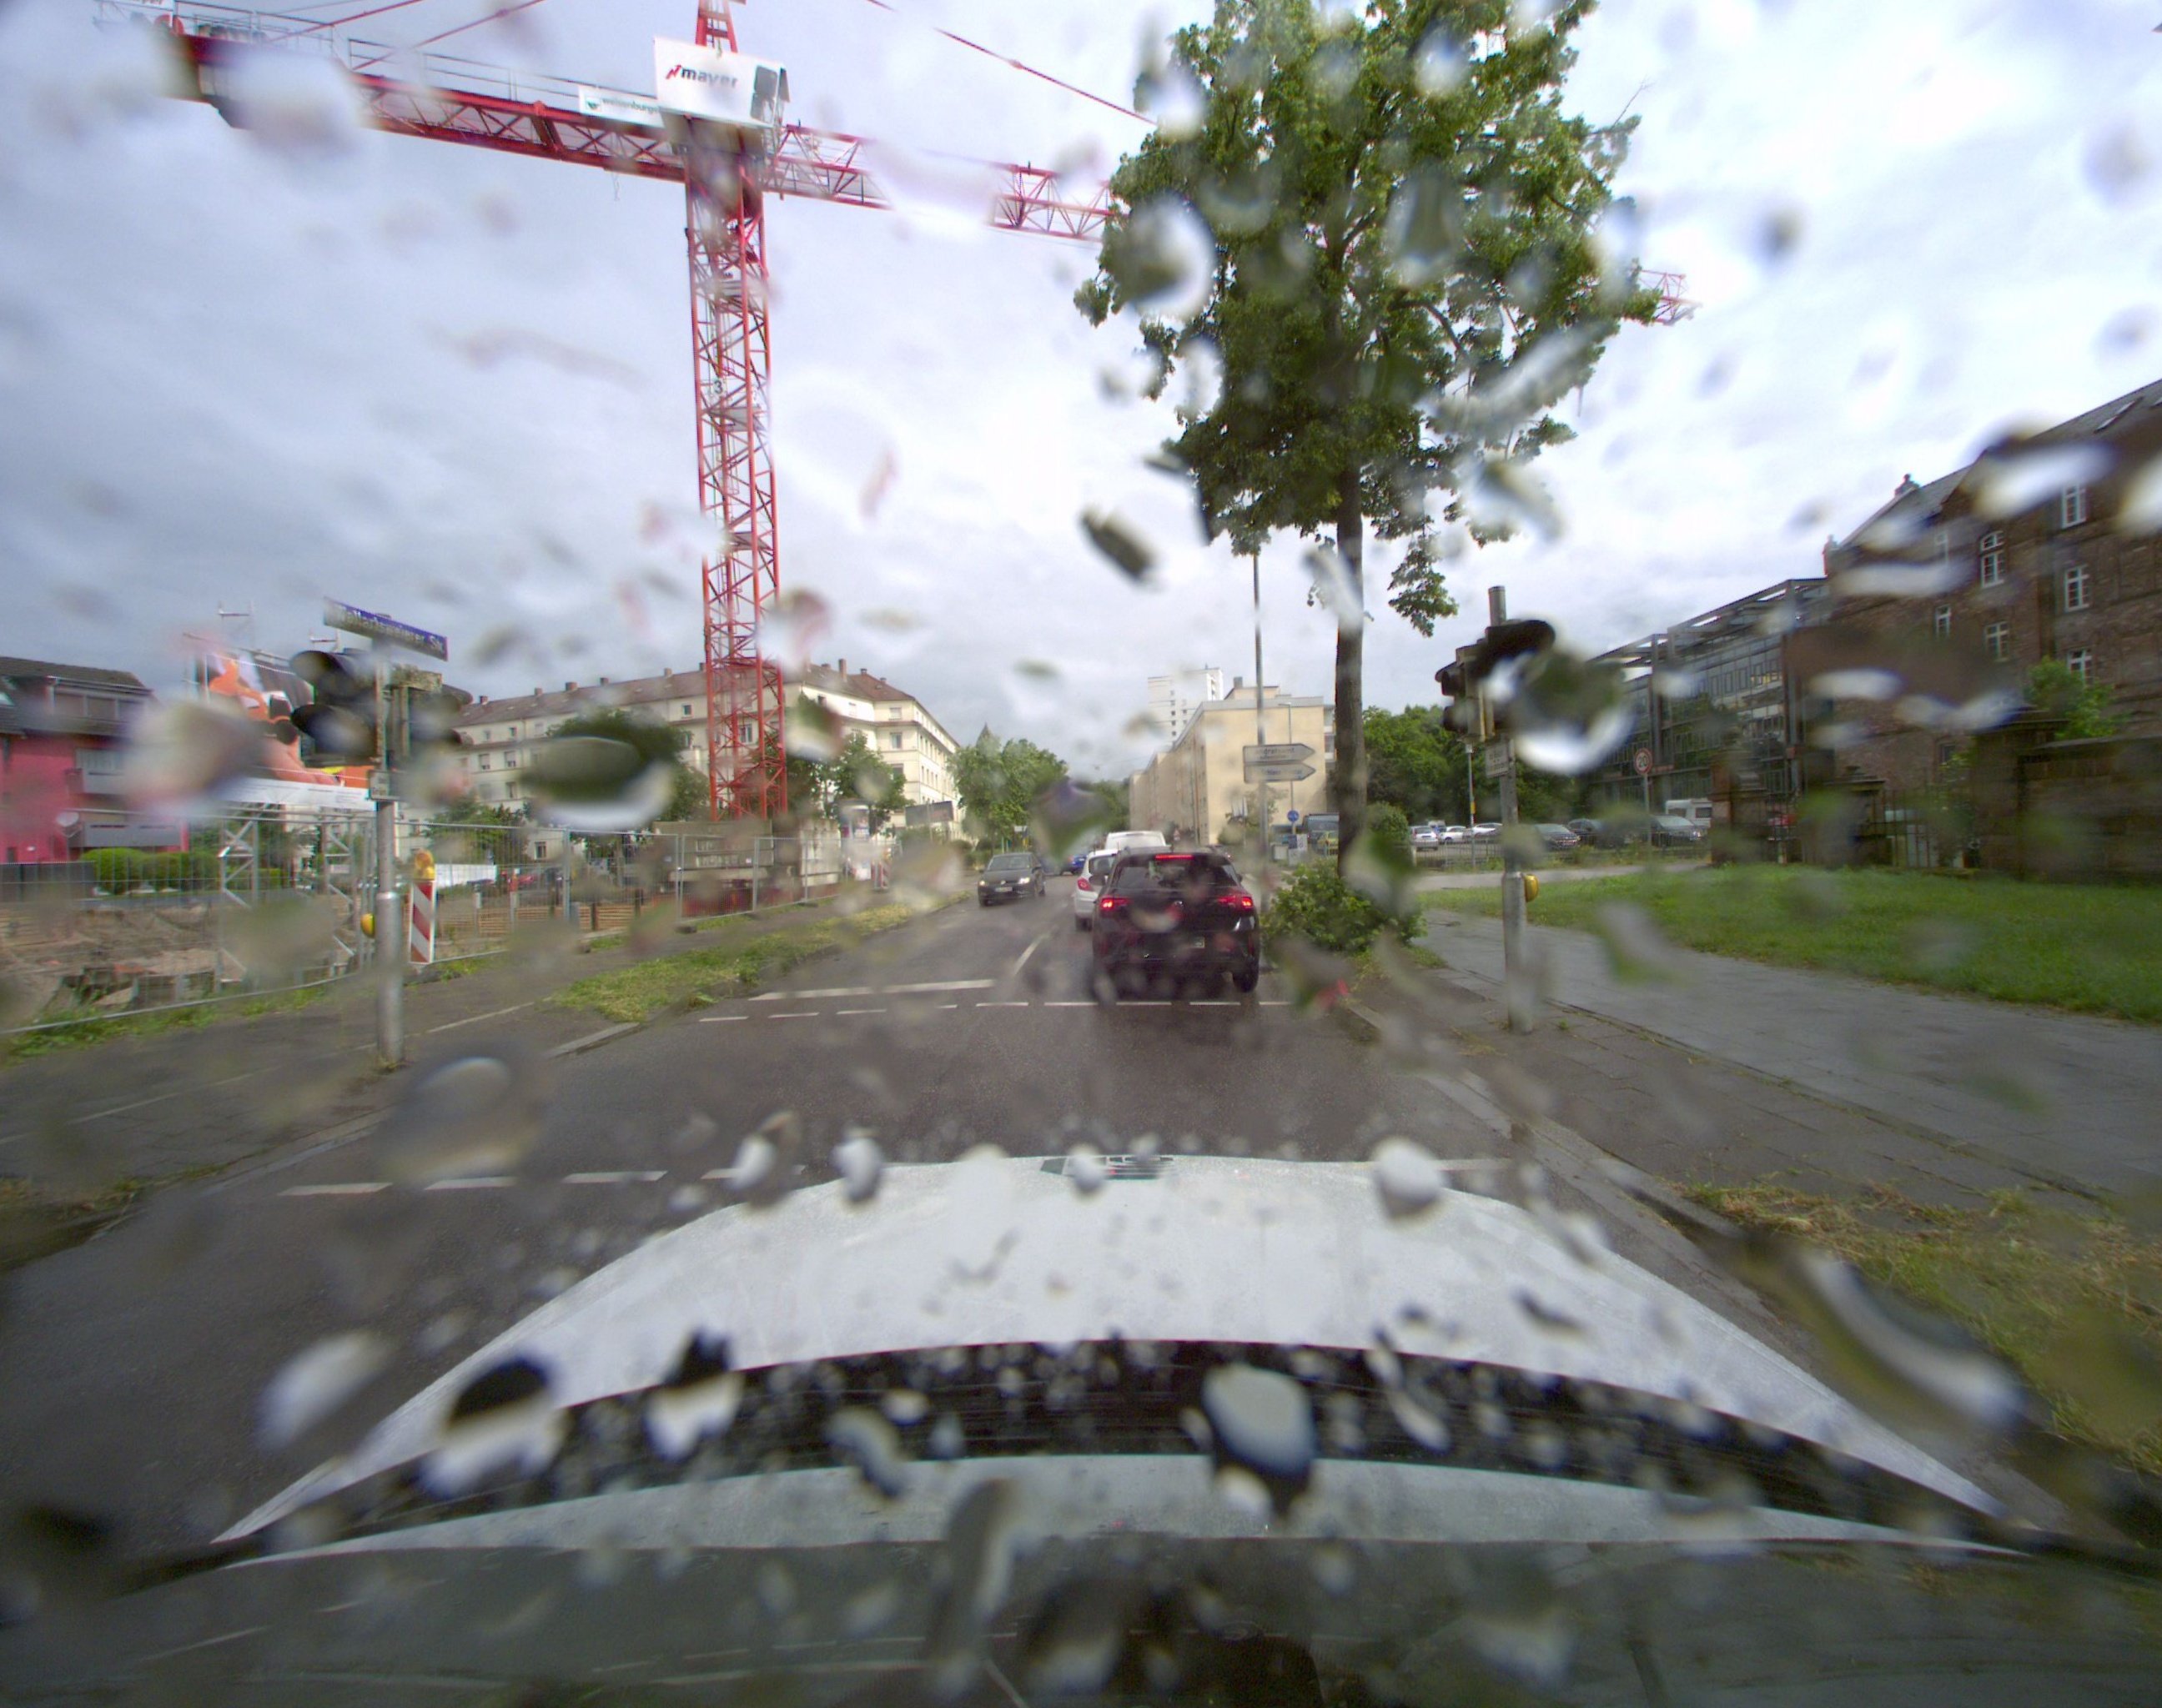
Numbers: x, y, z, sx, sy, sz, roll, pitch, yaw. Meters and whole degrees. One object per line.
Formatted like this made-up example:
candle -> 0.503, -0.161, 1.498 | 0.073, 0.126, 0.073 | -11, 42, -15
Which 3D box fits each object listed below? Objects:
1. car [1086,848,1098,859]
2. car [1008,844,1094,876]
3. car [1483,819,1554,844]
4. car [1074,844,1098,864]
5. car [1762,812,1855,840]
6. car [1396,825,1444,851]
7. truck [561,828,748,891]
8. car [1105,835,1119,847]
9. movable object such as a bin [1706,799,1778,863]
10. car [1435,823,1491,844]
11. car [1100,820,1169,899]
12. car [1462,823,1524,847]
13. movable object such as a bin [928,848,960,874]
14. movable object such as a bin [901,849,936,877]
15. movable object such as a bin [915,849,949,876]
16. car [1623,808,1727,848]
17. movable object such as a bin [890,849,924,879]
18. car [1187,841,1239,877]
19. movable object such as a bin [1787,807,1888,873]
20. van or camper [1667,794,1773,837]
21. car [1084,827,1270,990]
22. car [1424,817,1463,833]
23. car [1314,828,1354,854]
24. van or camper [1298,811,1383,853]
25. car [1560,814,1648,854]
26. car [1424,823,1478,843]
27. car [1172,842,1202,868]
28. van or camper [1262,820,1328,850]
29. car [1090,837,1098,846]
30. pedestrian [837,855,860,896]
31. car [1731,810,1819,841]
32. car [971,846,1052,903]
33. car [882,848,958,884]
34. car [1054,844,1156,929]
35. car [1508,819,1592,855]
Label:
car -> 1.893, -0.118, 136.685 | 1.733, 1.607, 3.679 | -4, 0, 3
car -> -1.642, 0.353, 44.257 | 4.389, 1.585, 1.833 | -2, -1, 35
car -> 30.315, -1.538, 56.499 | 3.957, 1.465, 1.674 | -3, 0, 3
car -> 0.444, -0.028, 73.007 | 1.833, 1.607, 4.004 | -4, 0, 3
car -> 40.503, -1.538, 45.391 | 3.650, 1.486, 1.674 | -1, 1, 3
car -> 20.836, -0.972, 50.225 | 1.641, 1.486, 3.724 | -3, 0, 5
truck -> -25.682, 0.336, 49.146 | 9.741, 3.184, 3.807 | -3, 0, 14
car -> 4.565, -1.938, 119.112 | 1.833, 1.607, 3.679 | -4, 0, 3
movable object such as a bin -> 15.867, -0.551, 19.592 | 0.796, 1.457, 1.098 | -4, 1, 3
car -> 30.137, -1.616, 64.336 | 3.649, 1.486, 1.642 | -3, 0, 5
car -> 1.592, 0.157, 24.014 | 1.828, 2.103, 4.004 | -1, 0, 4
car -> 29.796, -1.372, 58.948 | 3.649, 1.486, 1.642 | -3, 0, 5
movable object such as a bin -> -9.361, 0.451, 55.821 | 1.524, 1.661, 1.466 | -3, 1, 21
movable object such as a bin -> -10.518, 0.595, 52.771 | 1.524, 1.656, 1.536 | -3, 1, 21
movable object such as a bin -> -9.924, 0.533, 54.318 | 1.524, 1.674, 1.675 | -3, 1, 21
car -> 27.841, -1.166, 38.372 | 1.845, 1.679, 4.429 | -3, 0, 4
movable object such as a bin -> -10.931, 0.624, 51.240 | 1.524, 1.824, 1.270 | -3, 1, 21
car -> 6.351, 0.204, 39.520 | 1.768, 1.539, 4.378 | -5, 1, 1
movable object such as a bin -> 18.270, -0.338, 19.708 | 1.101, 1.457, 1.392 | -4, 1, 3
van or camper -> 39.666, -2.376, 50.650 | 4.768, 2.486, 2.259 | 0, 0, 1
car -> 1.052, 0.565, 10.340 | 1.866, 1.645, 4.064 | -1, 0, 2
car -> 35.570, -2.840, 79.934 | 3.209, 1.397, 1.511 | -3, 0, 5
car -> 15.744, -0.794, 50.838 | 1.603, 1.448, 3.420 | -3, 0, 4
van or camper -> 17.334, -1.418, 54.552 | 4.977, 2.554, 2.177 | -2, -1, 3
car -> 25.006, -0.946, 39.136 | 1.843, 1.679, 4.433 | -3, 0, 8
car -> 30.222, -1.703, 66.590 | 3.649, 1.486, 1.642 | -3, 0, 5
car -> 6.617, 0.078, 51.019 | 1.748, 1.528, 4.006 | 1, -1, 6
van or camper -> 16.995, -1.486, 64.886 | 4.736, 2.131, 2.325 | -2, 1, 5
car -> 2.980, -2.767, 182.208 | 1.660, 1.837, 4.000 | -3, 1, 0
pedestrian -> -9.472, 0.866, 33.168 | 0.727, 1.629, 0.677 | 0, -1, -36
car -> 40.732, -1.653, 47.845 | 3.651, 1.576, 1.674 | -3, 0, 3
car -> -1.994, 0.576, 24.508 | 1.805, 1.540, 3.986 | -2, 0, 4
car -> -9.193, 0.688, 46.716 | 3.984, 1.637, 1.890 | -5, -1, -7
car -> 0.511, 0.597, 16.622 | 1.806, 1.503, 4.002 | 0, 0, 2
car -> 22.268, -0.778, 38.858 | 1.819, 1.527, 4.432 | -3, 0, 7
